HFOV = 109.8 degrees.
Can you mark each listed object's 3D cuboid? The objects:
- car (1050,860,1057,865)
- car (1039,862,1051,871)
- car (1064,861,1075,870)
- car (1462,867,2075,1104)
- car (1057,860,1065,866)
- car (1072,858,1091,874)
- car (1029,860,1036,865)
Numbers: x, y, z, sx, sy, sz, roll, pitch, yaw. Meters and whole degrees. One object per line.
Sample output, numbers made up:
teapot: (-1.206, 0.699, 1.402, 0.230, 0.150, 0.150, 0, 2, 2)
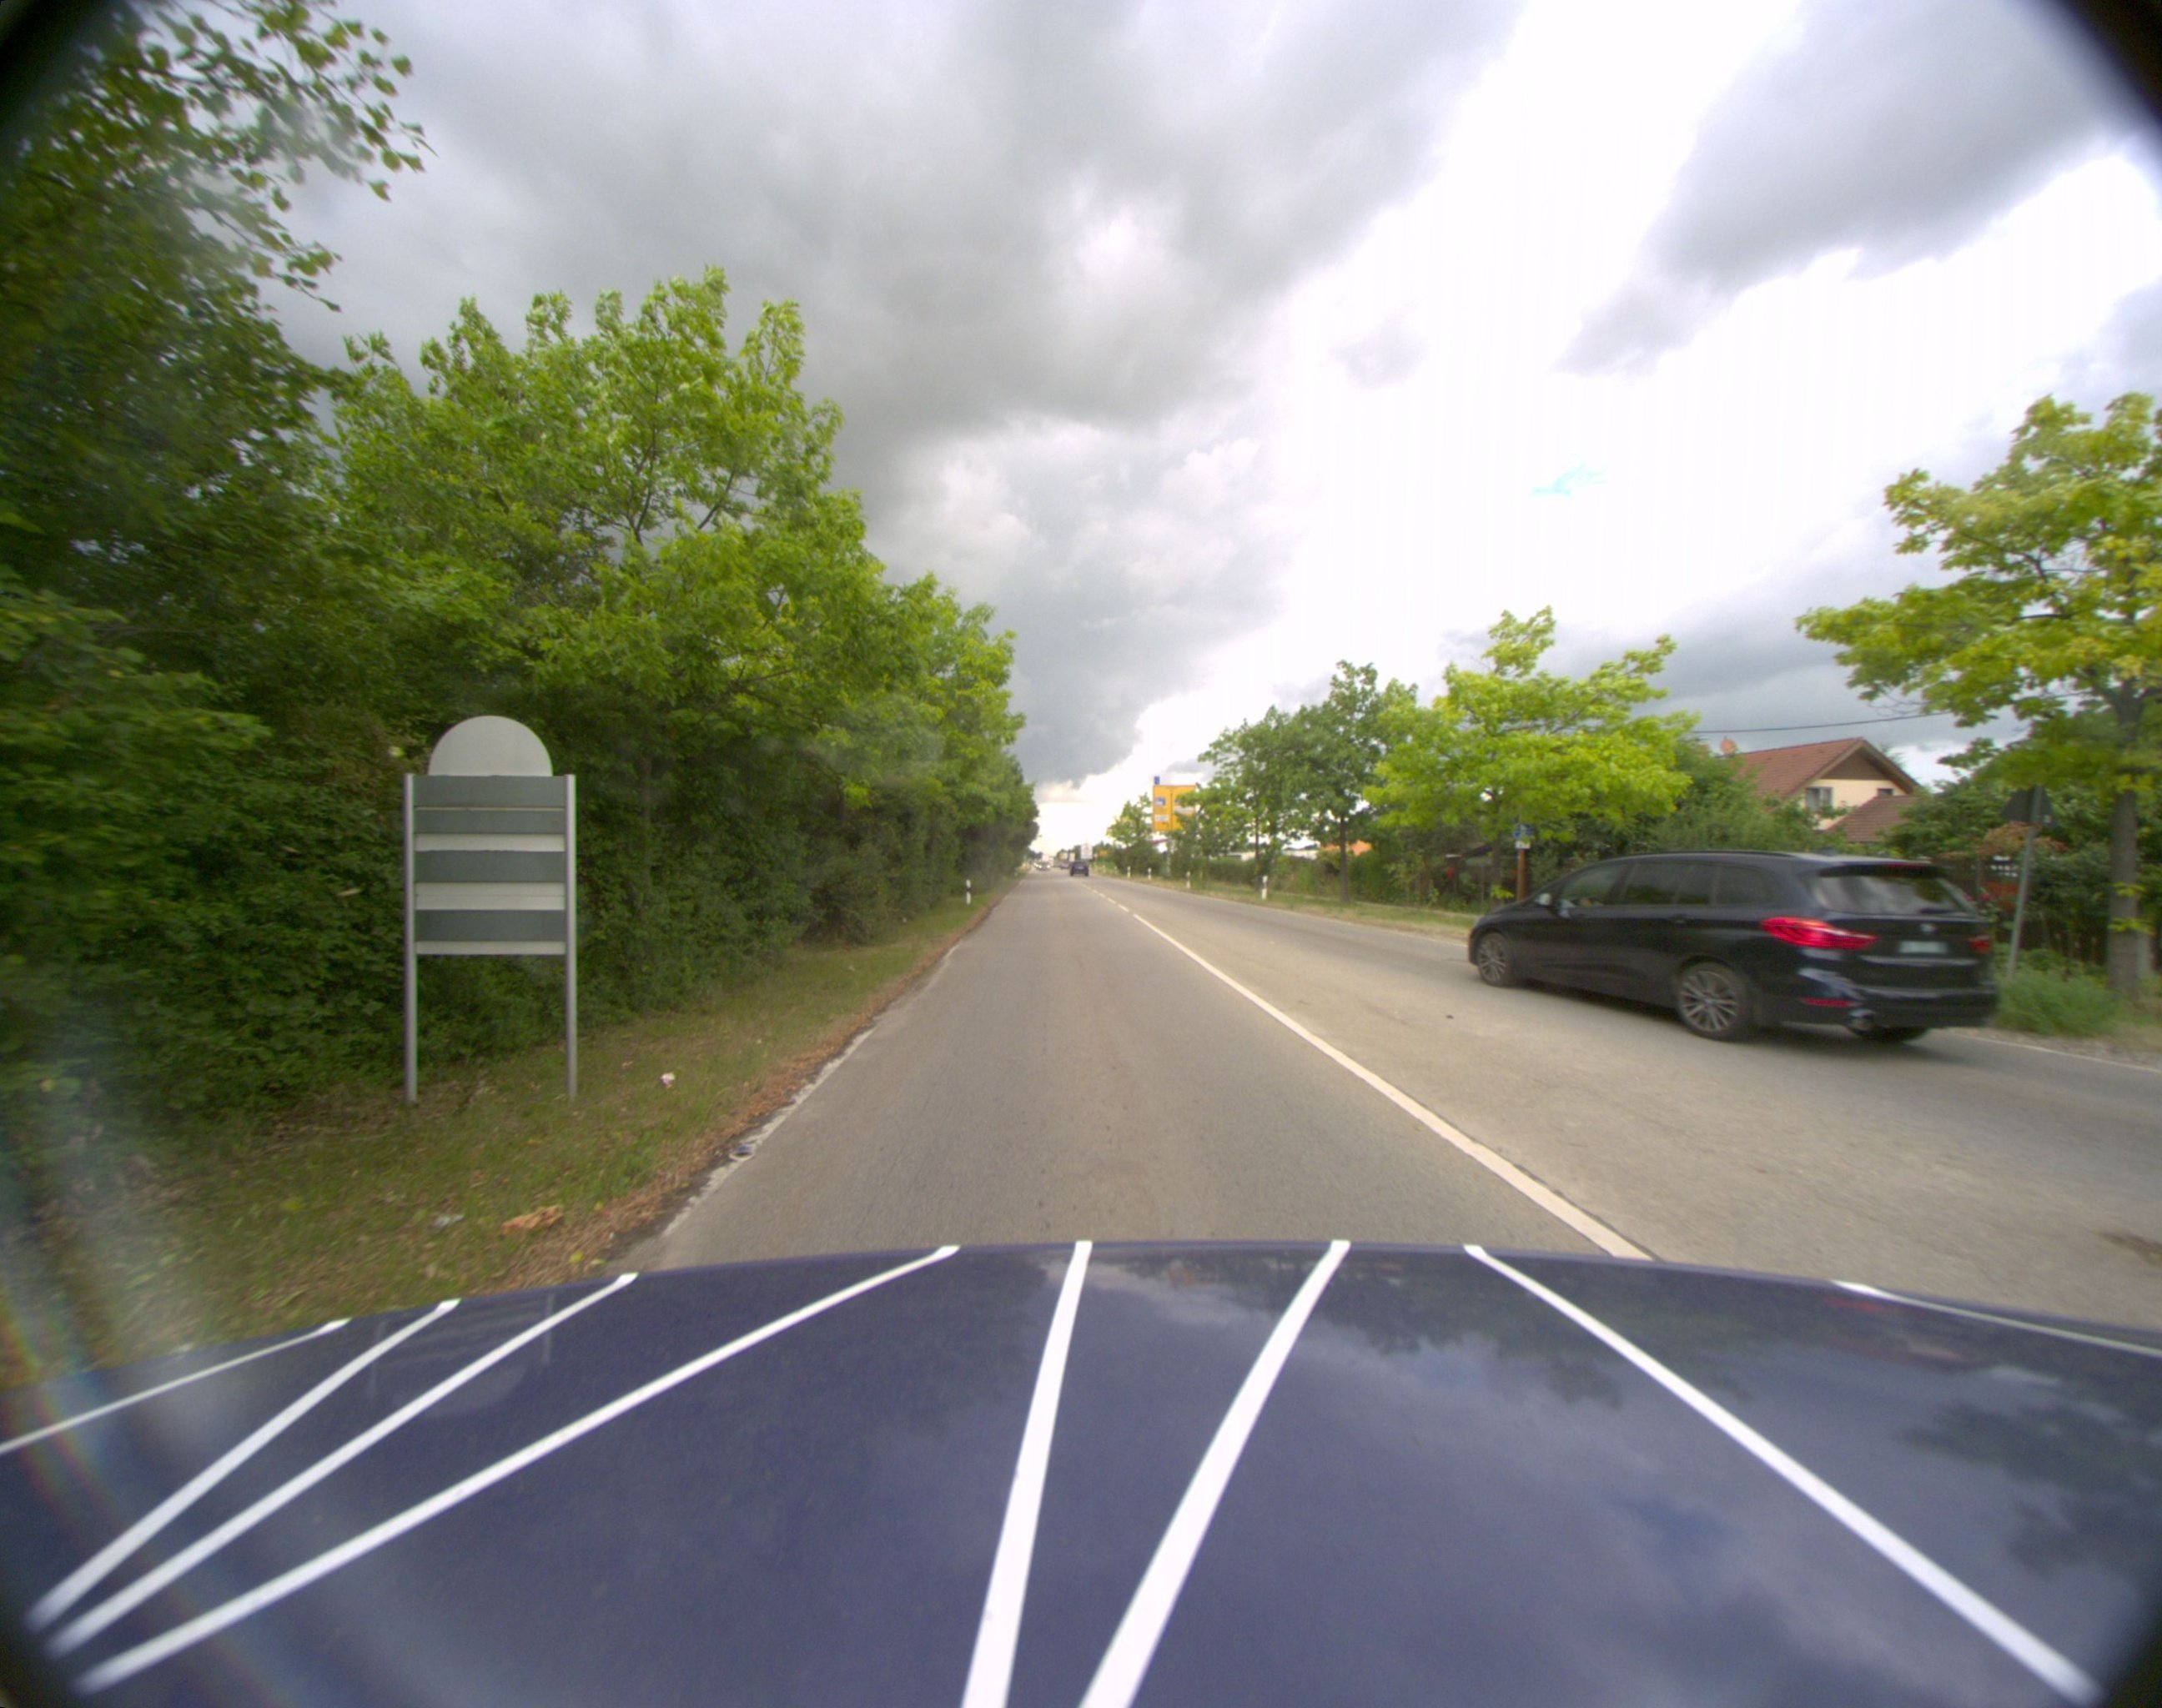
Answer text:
car: (-7.496, 2.250, 209.961, 1.778, 1.365, 4.099, 2, 0, -3)
car: (-5.696, 1.954, 120.277, 1.870, 1.352, 3.825, 0, 0, -3)
car: (-2.150, 2.076, 139.513, 1.821, 1.485, 4.203, 1, 0, -3)
car: (5.938, 0.960, 7.474, 1.743, 1.576, 4.353, 2, 0, -7)
car: (-4.777, 2.068, 182.542, 1.858, 1.455, 4.369, 1, 0, -4)
car: (0.015, 1.232, 77.297, 1.738, 1.525, 4.094, 2, 0, -3)
car: (-14.506, 2.622, 227.118, 1.778, 1.407, 4.078, 2, 0, -3)
